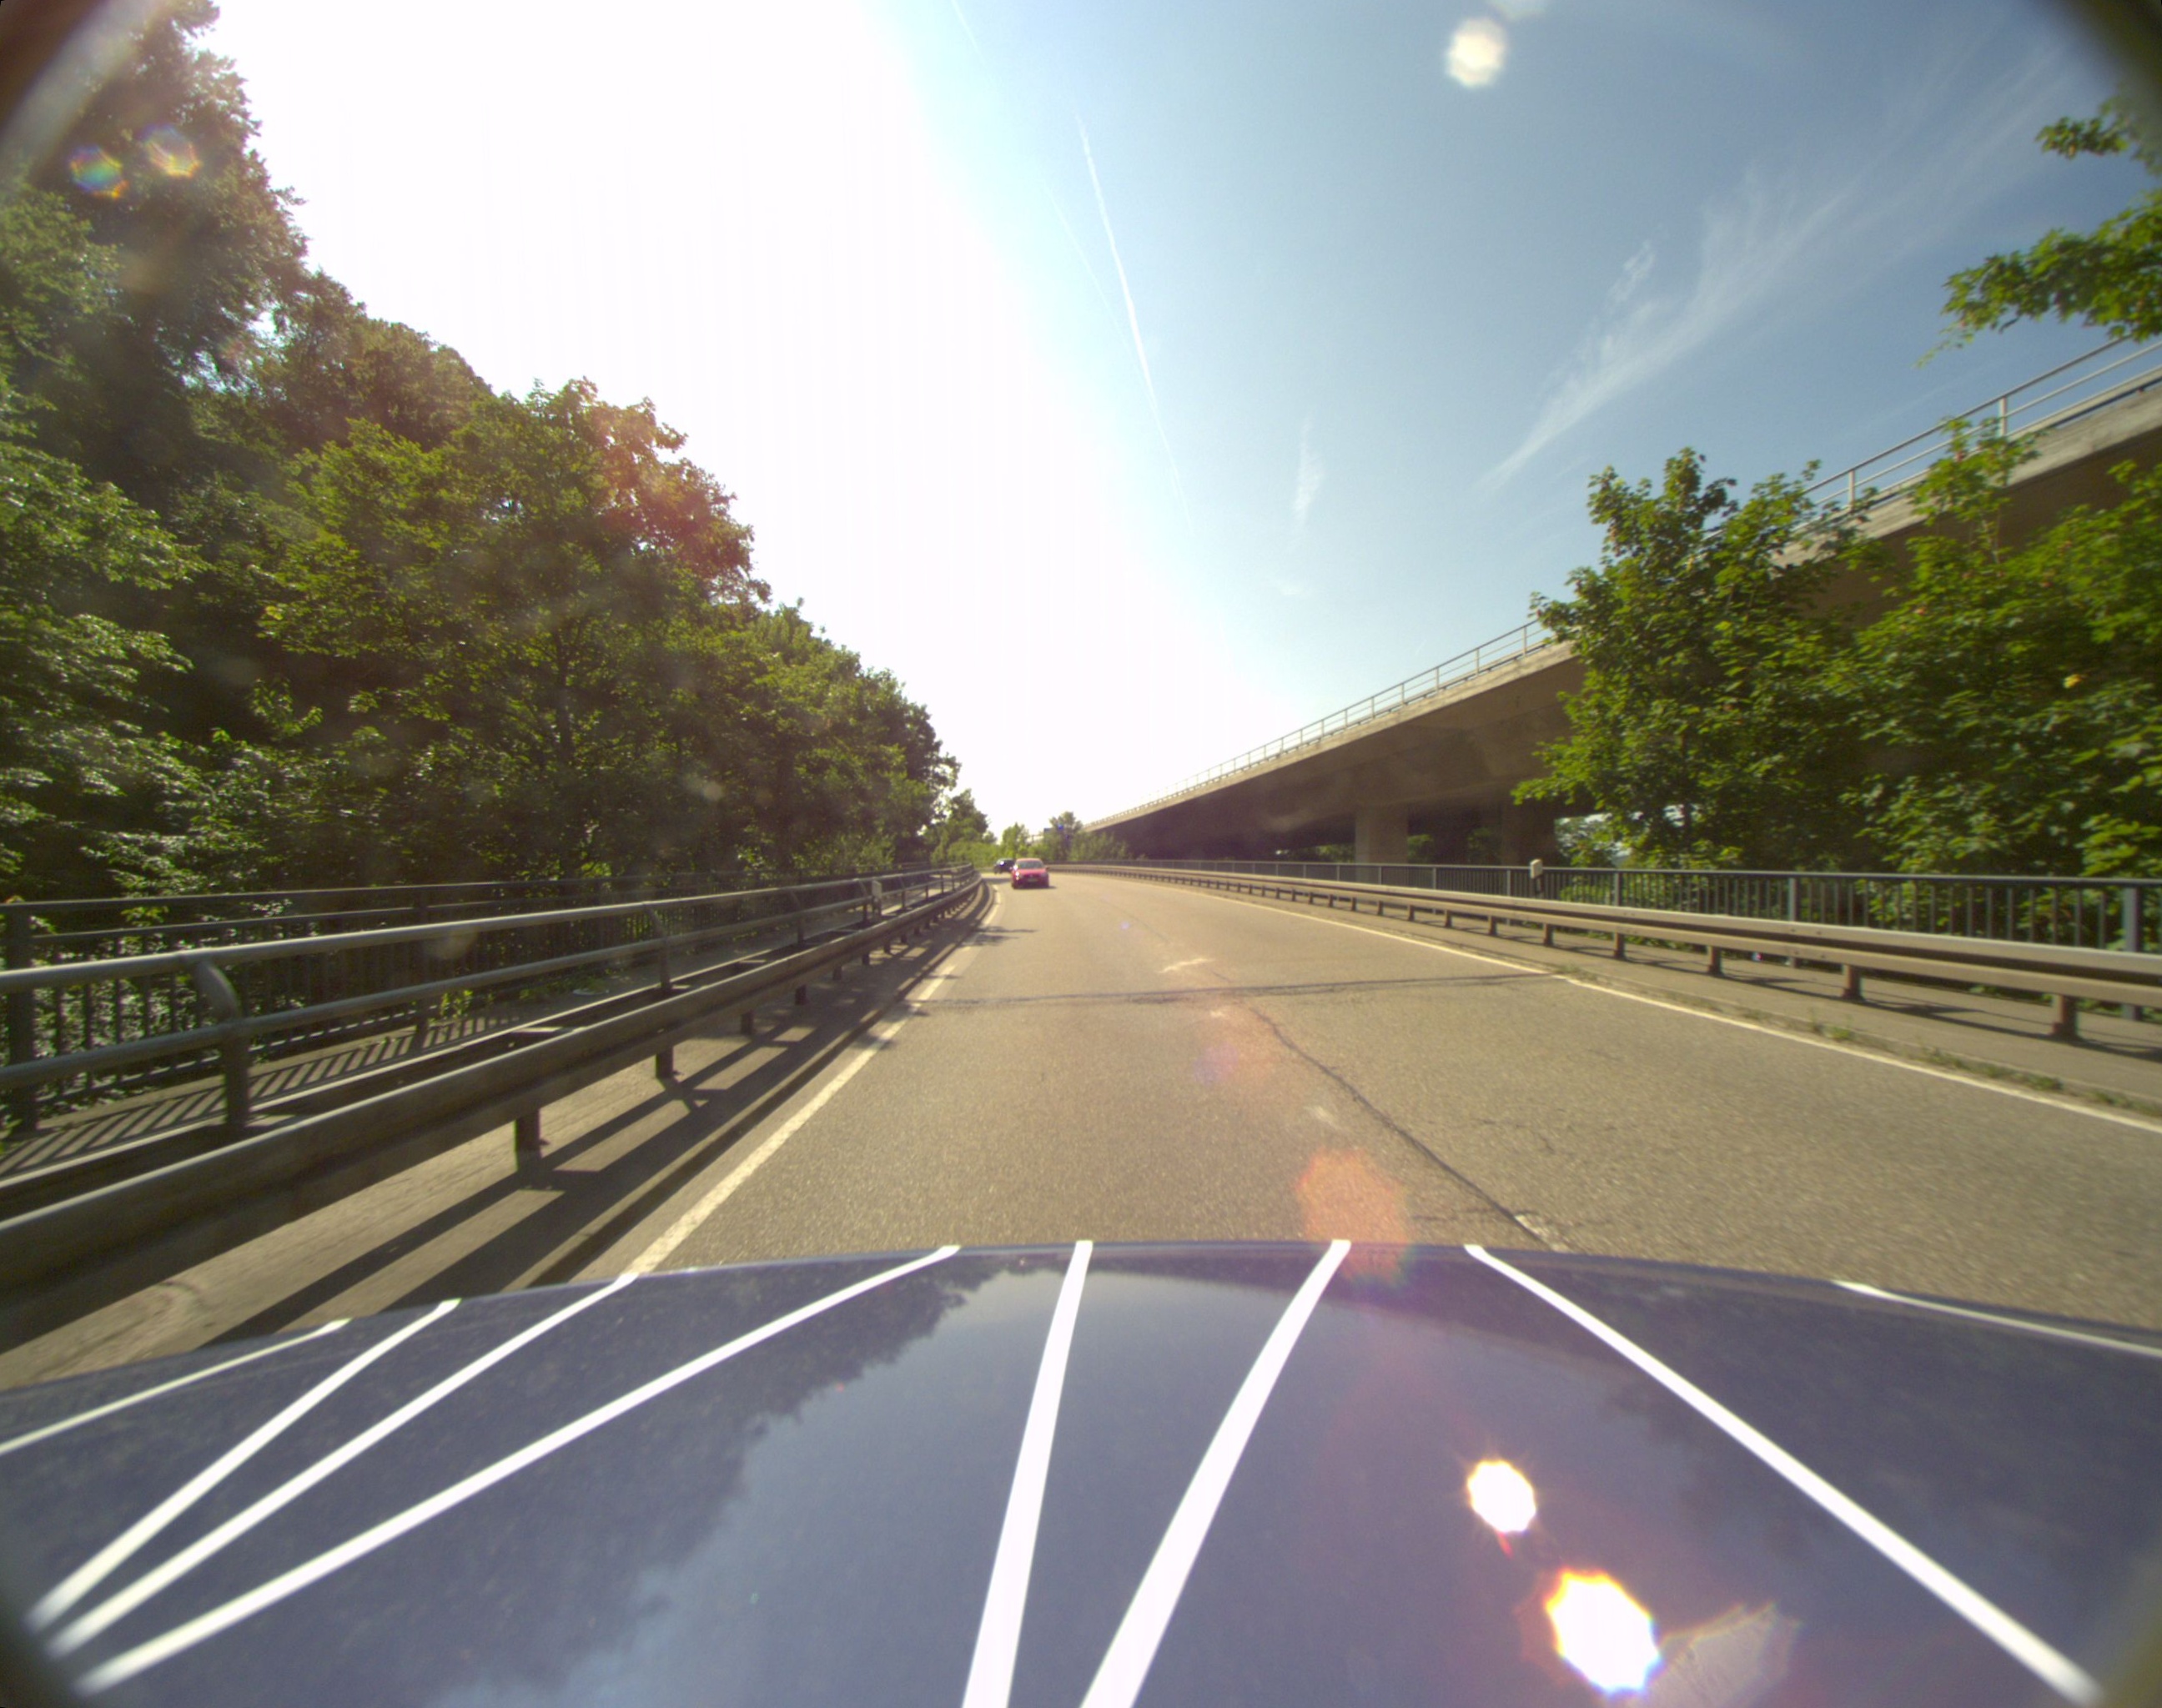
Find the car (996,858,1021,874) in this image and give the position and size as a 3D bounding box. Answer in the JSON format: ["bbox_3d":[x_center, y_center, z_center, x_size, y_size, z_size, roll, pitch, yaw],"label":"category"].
[{"bbox_3d":[-7.713,1.291,80.259,1.905,1.571,4.549,-2,0,-14],"label":"car"}]

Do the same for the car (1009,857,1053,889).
[{"bbox_3d":[-2.602,0.936,38.607,1.818,1.487,4.283,-1,-1,-9],"label":"car"}]
